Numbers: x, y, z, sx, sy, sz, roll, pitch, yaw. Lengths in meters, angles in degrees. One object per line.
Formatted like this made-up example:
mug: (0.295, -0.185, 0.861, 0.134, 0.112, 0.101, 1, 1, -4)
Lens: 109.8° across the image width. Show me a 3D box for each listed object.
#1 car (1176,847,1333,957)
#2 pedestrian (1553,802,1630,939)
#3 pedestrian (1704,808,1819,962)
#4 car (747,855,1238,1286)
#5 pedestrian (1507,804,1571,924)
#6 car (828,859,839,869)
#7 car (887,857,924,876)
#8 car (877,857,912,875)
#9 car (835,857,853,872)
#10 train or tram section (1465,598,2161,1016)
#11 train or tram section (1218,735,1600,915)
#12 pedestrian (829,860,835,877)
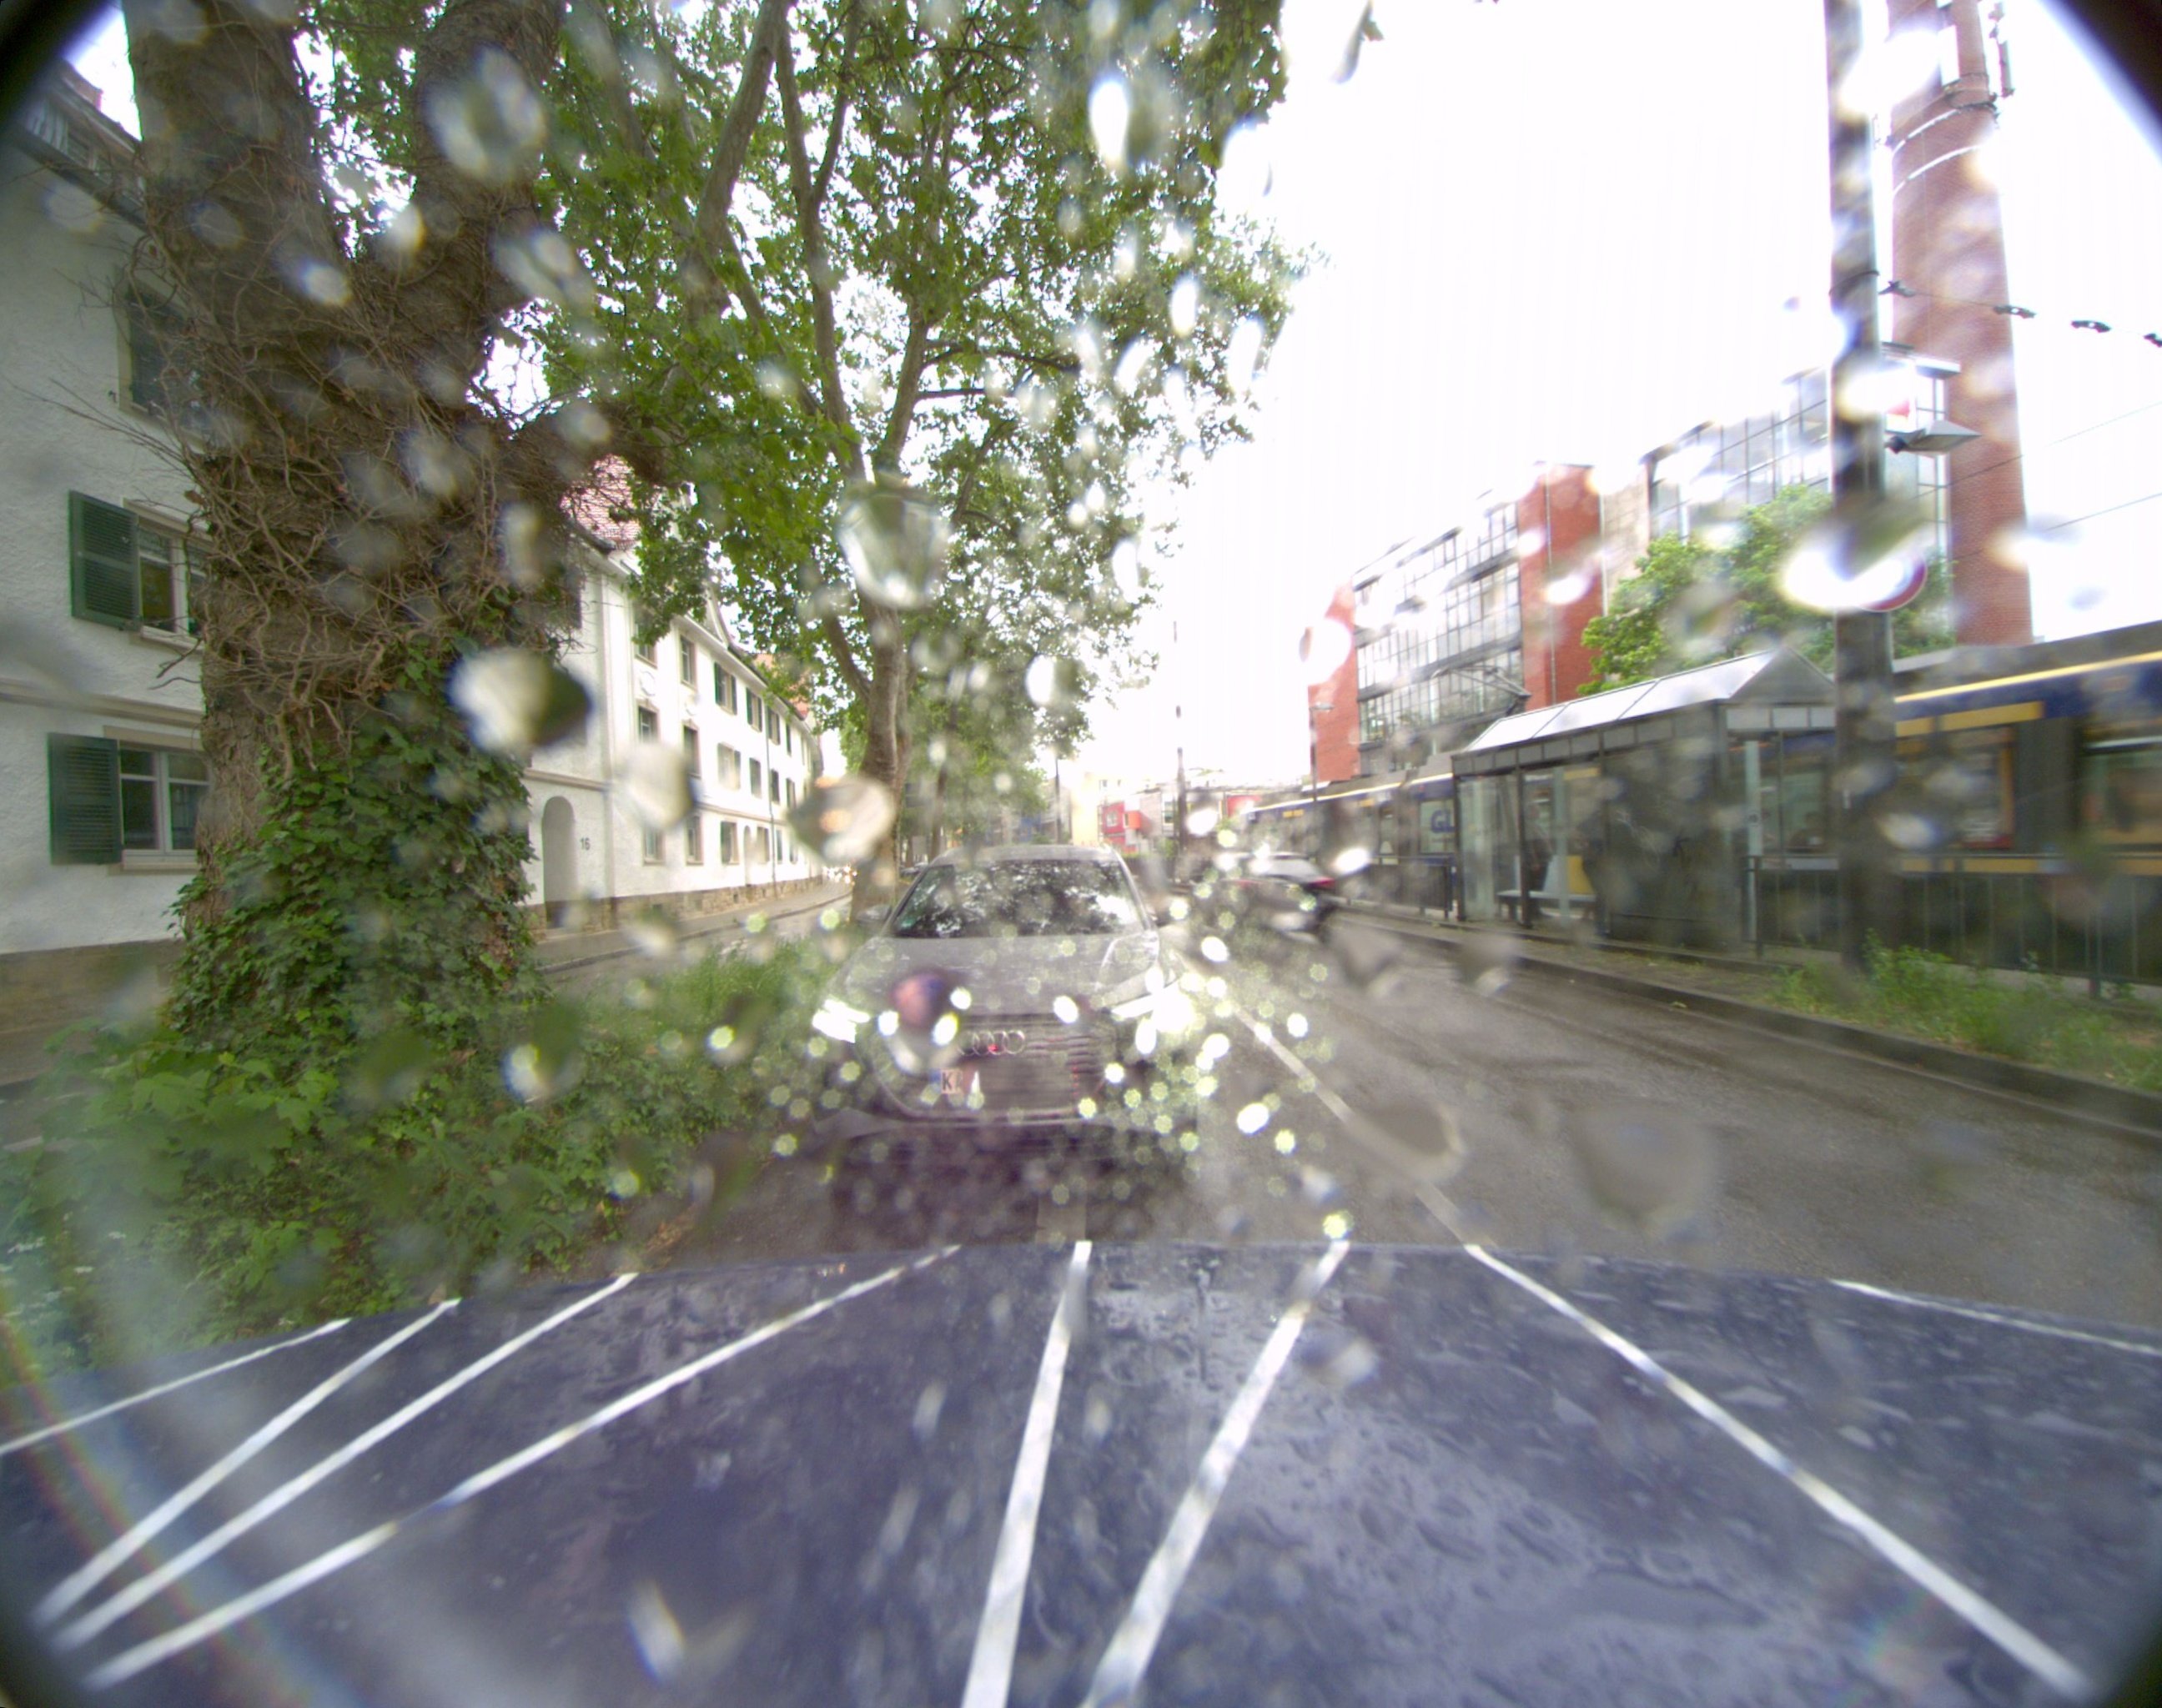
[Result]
car: (2.888, 0.714, 13.579, 1.756, 1.582, 4.234, -3, 0, 0)
pedestrian: (6.736, 0.216, 10.051, 0.629, 1.738, 0.564, -2, 1, 9)
pedestrian: (7.281, 0.329, 8.148, 0.798, 1.588, 0.506, 0, -2, -10)
car: (-0.410, 0.872, 5.125, 1.917, 1.632, 4.106, -2, 0, -2)
pedestrian: (6.799, 0.146, 11.293, 0.629, 1.738, 0.514, -2, 1, 9)
car: (-52.072, 2.157, 159.941, 2.001, 2.002, 3.993, -4, 1, -20)
car: (-20.239, 1.462, 87.568, 4.002, 2.002, 1.997, -2, 0, -17)
car: (-23.212, 1.496, 94.663, 4.002, 2.002, 1.997, -2, 0, -17)
car: (-39.232, 1.751, 125.749, 2.199, 2.250, 5.401, -3, 0, -24)
train or tram section: (10.216, -0.439, 8.547, 2.869, 3.525, 13.704, -2, 0, -9)
train or tram section: (8.055, -0.608, 22.964, 2.869, 3.525, 15.361, -2, 0, -8)
pedestrian: (-28.677, 1.668, 87.504, 0.674, 1.811, 0.678, -3, 1, -18)
